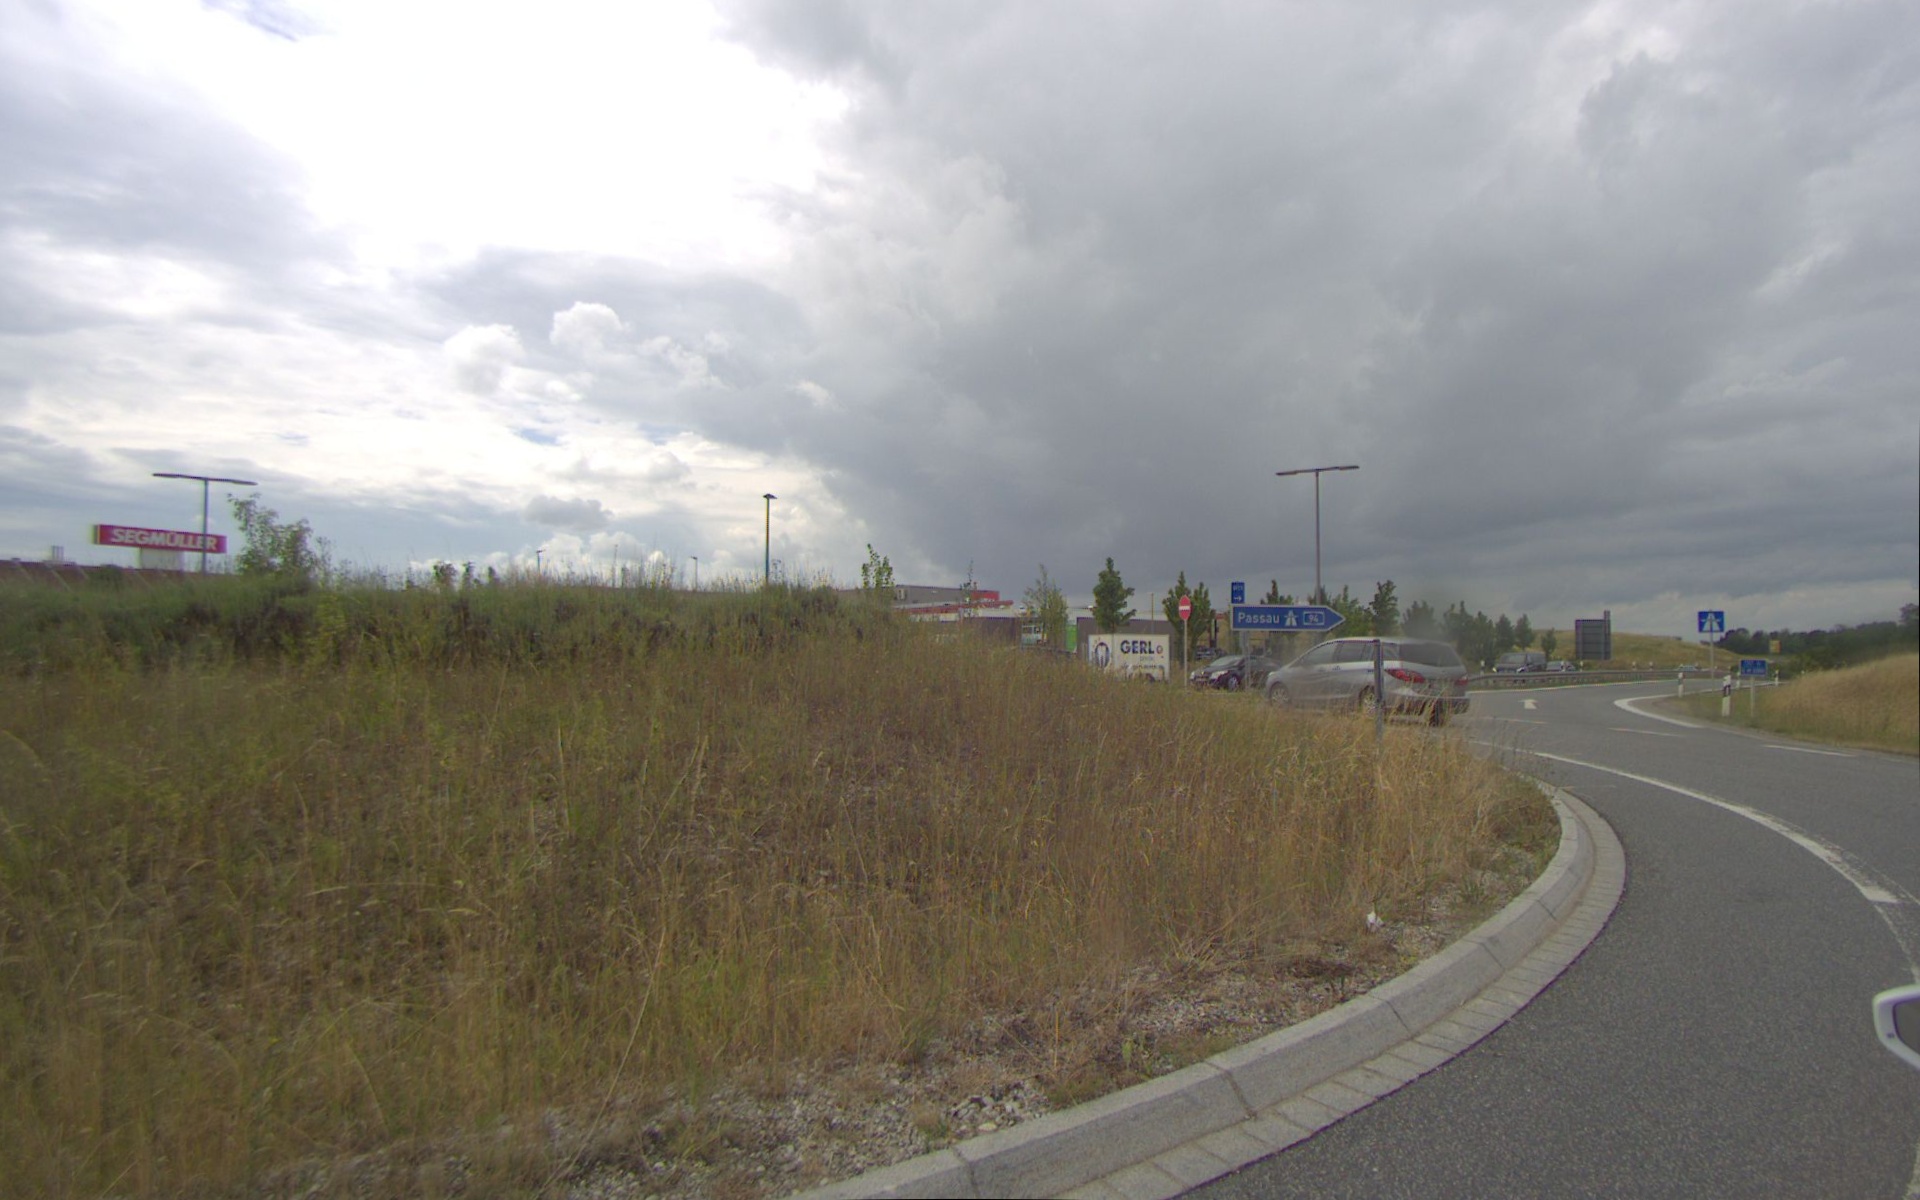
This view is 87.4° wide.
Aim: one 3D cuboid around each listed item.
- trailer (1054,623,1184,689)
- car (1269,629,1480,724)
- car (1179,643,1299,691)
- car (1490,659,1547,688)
[{"bbox_3d":[5.800,2.045,36.549,4.316,2.213,1.987,3,-2,-27],"label":"trailer"},{"bbox_3d":[8.006,1.420,19.804,1.715,1.620,3.983,1,-1,-17],"label":"car"},{"bbox_3d":[10.828,2.616,38.867,4.542,1.705,1.983,4,-5,-32],"label":"car"},{"bbox_3d":[34.415,4.559,61.851,1.973,1.705,4.566,-3,-6,44],"label":"car"}]
